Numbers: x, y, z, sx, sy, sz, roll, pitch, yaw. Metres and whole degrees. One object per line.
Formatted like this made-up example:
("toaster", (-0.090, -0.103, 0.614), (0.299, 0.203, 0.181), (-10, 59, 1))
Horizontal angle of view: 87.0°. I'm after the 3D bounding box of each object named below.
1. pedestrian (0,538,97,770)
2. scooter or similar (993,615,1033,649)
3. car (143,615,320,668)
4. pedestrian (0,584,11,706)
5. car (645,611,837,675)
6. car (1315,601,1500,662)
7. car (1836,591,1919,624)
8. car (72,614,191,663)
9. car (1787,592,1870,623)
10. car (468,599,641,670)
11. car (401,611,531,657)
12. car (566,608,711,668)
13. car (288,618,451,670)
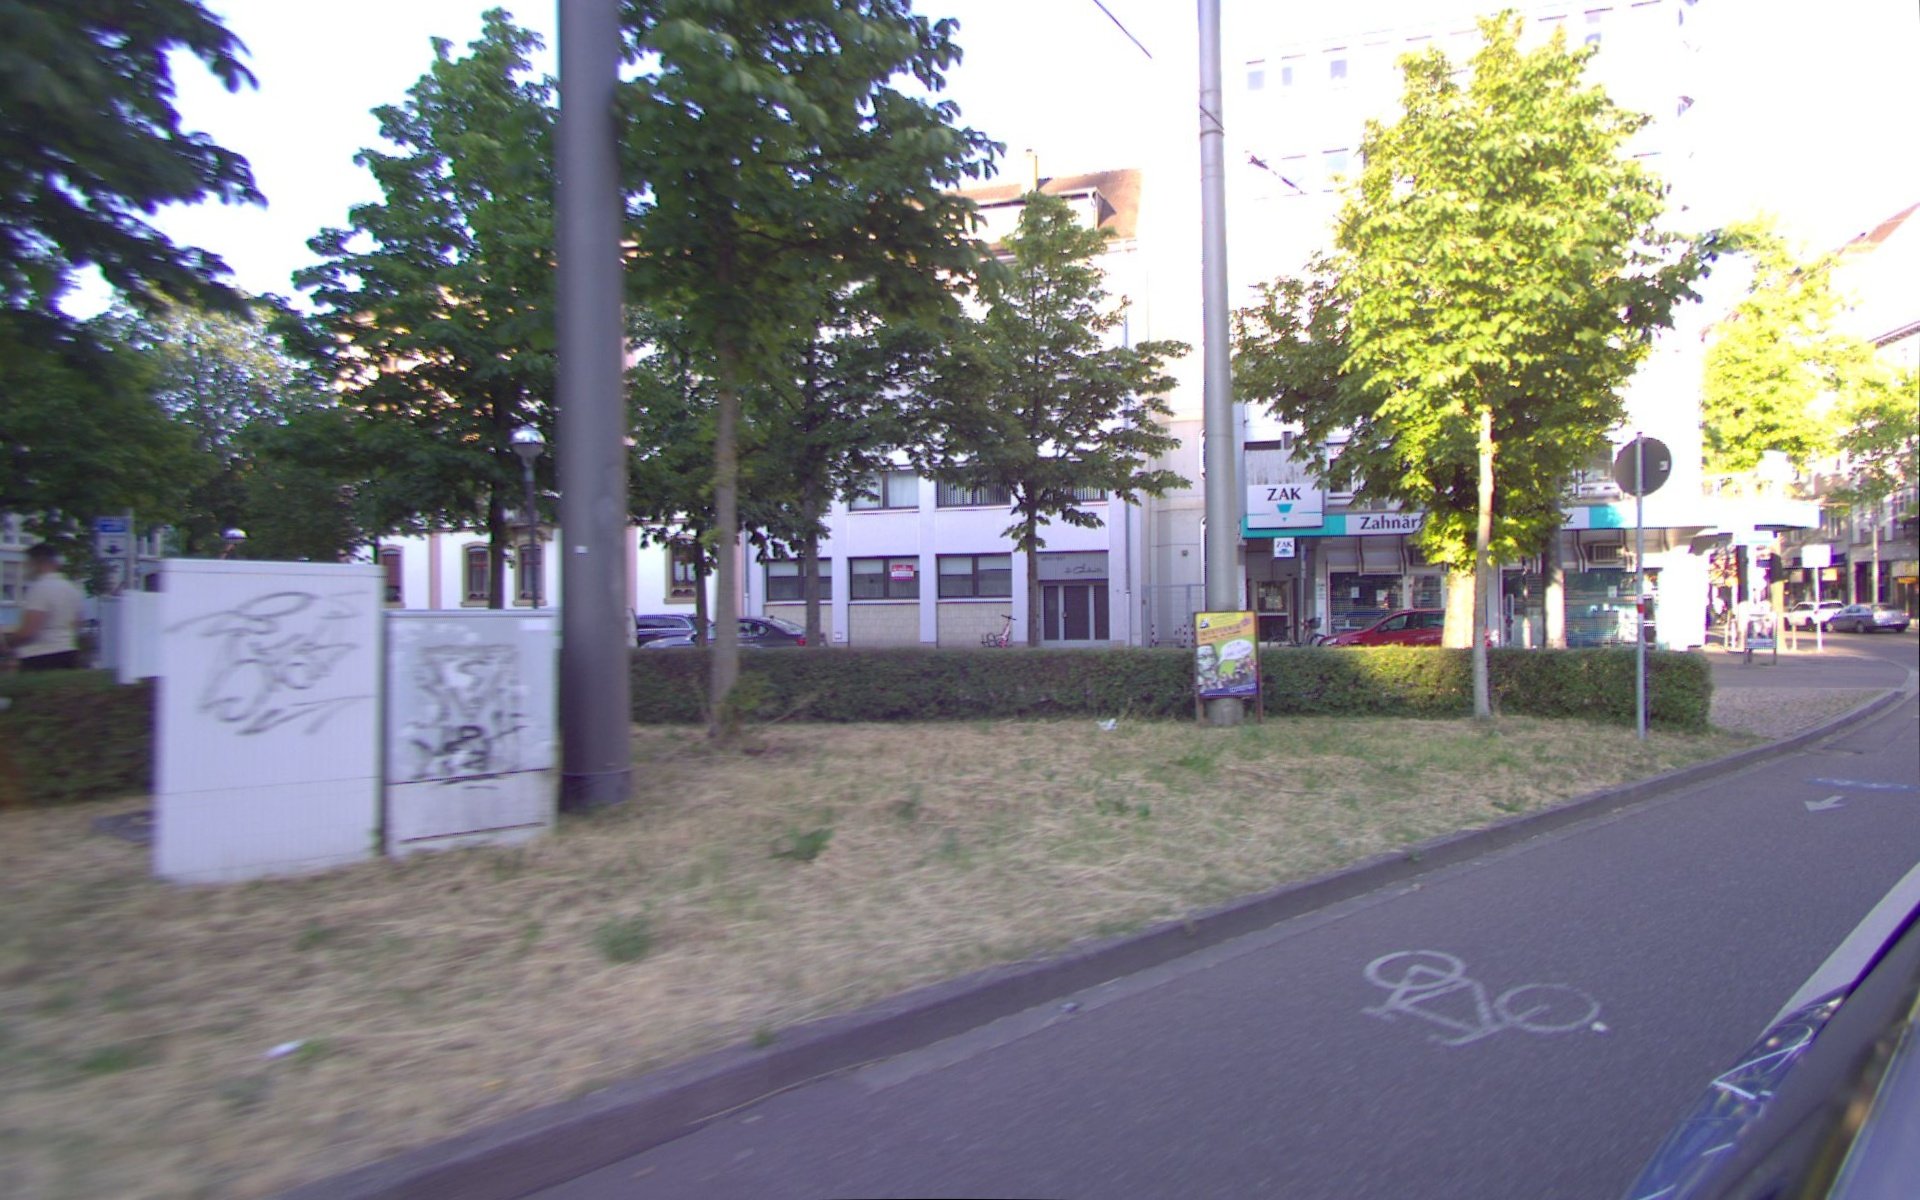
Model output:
("pedestrian", (-6.925, 0.389, 7.519), (0.637, 1.646, 0.614), (1, -2, -29))
("scooter or similar", (1.650, 1.001, 31.542), (1.174, 1.046, 0.482), (-1, -2, 35))
("car", (-20.903, 1.175, 29.089), (4.329, 1.437, 1.720), (-1, -1, 13))
("pedestrian", (-16.615, 0.747, 16.950), (0.827, 2.040, 0.993), (-2, -2, 44))
("car", (-5.326, 1.017, 24.797), (4.258, 1.427, 1.799), (-1, 1, 13))
("car", (11.189, 0.797, 25.575), (3.939, 1.468, 1.841), (-1, -1, 13))
("car", (45.106, 0.389, 49.582), (1.699, 1.572, 3.948), (-1, -1, 14))
("car", (-39.994, 1.833, 48.952), (3.985, 2.324, 2.002), (0, -1, -8))
("car", (46.703, 0.418, 54.521), (1.777, 1.572, 3.948), (-1, -1, 14))
("car", (-10.519, 0.878, 26.327), (3.953, 1.747, 1.694), (-1, -1, 13))
("car", (-16.087, 1.095, 32.996), (3.623, 1.468, 1.693), (-1, -1, 15))
("car", (-9.808, 1.145, 30.911), (3.955, 1.747, 1.693), (-1, -1, 15))
("car", (-16.245, 1.185, 27.902), (3.726, 1.353, 1.720), (-1, -1, 13))
